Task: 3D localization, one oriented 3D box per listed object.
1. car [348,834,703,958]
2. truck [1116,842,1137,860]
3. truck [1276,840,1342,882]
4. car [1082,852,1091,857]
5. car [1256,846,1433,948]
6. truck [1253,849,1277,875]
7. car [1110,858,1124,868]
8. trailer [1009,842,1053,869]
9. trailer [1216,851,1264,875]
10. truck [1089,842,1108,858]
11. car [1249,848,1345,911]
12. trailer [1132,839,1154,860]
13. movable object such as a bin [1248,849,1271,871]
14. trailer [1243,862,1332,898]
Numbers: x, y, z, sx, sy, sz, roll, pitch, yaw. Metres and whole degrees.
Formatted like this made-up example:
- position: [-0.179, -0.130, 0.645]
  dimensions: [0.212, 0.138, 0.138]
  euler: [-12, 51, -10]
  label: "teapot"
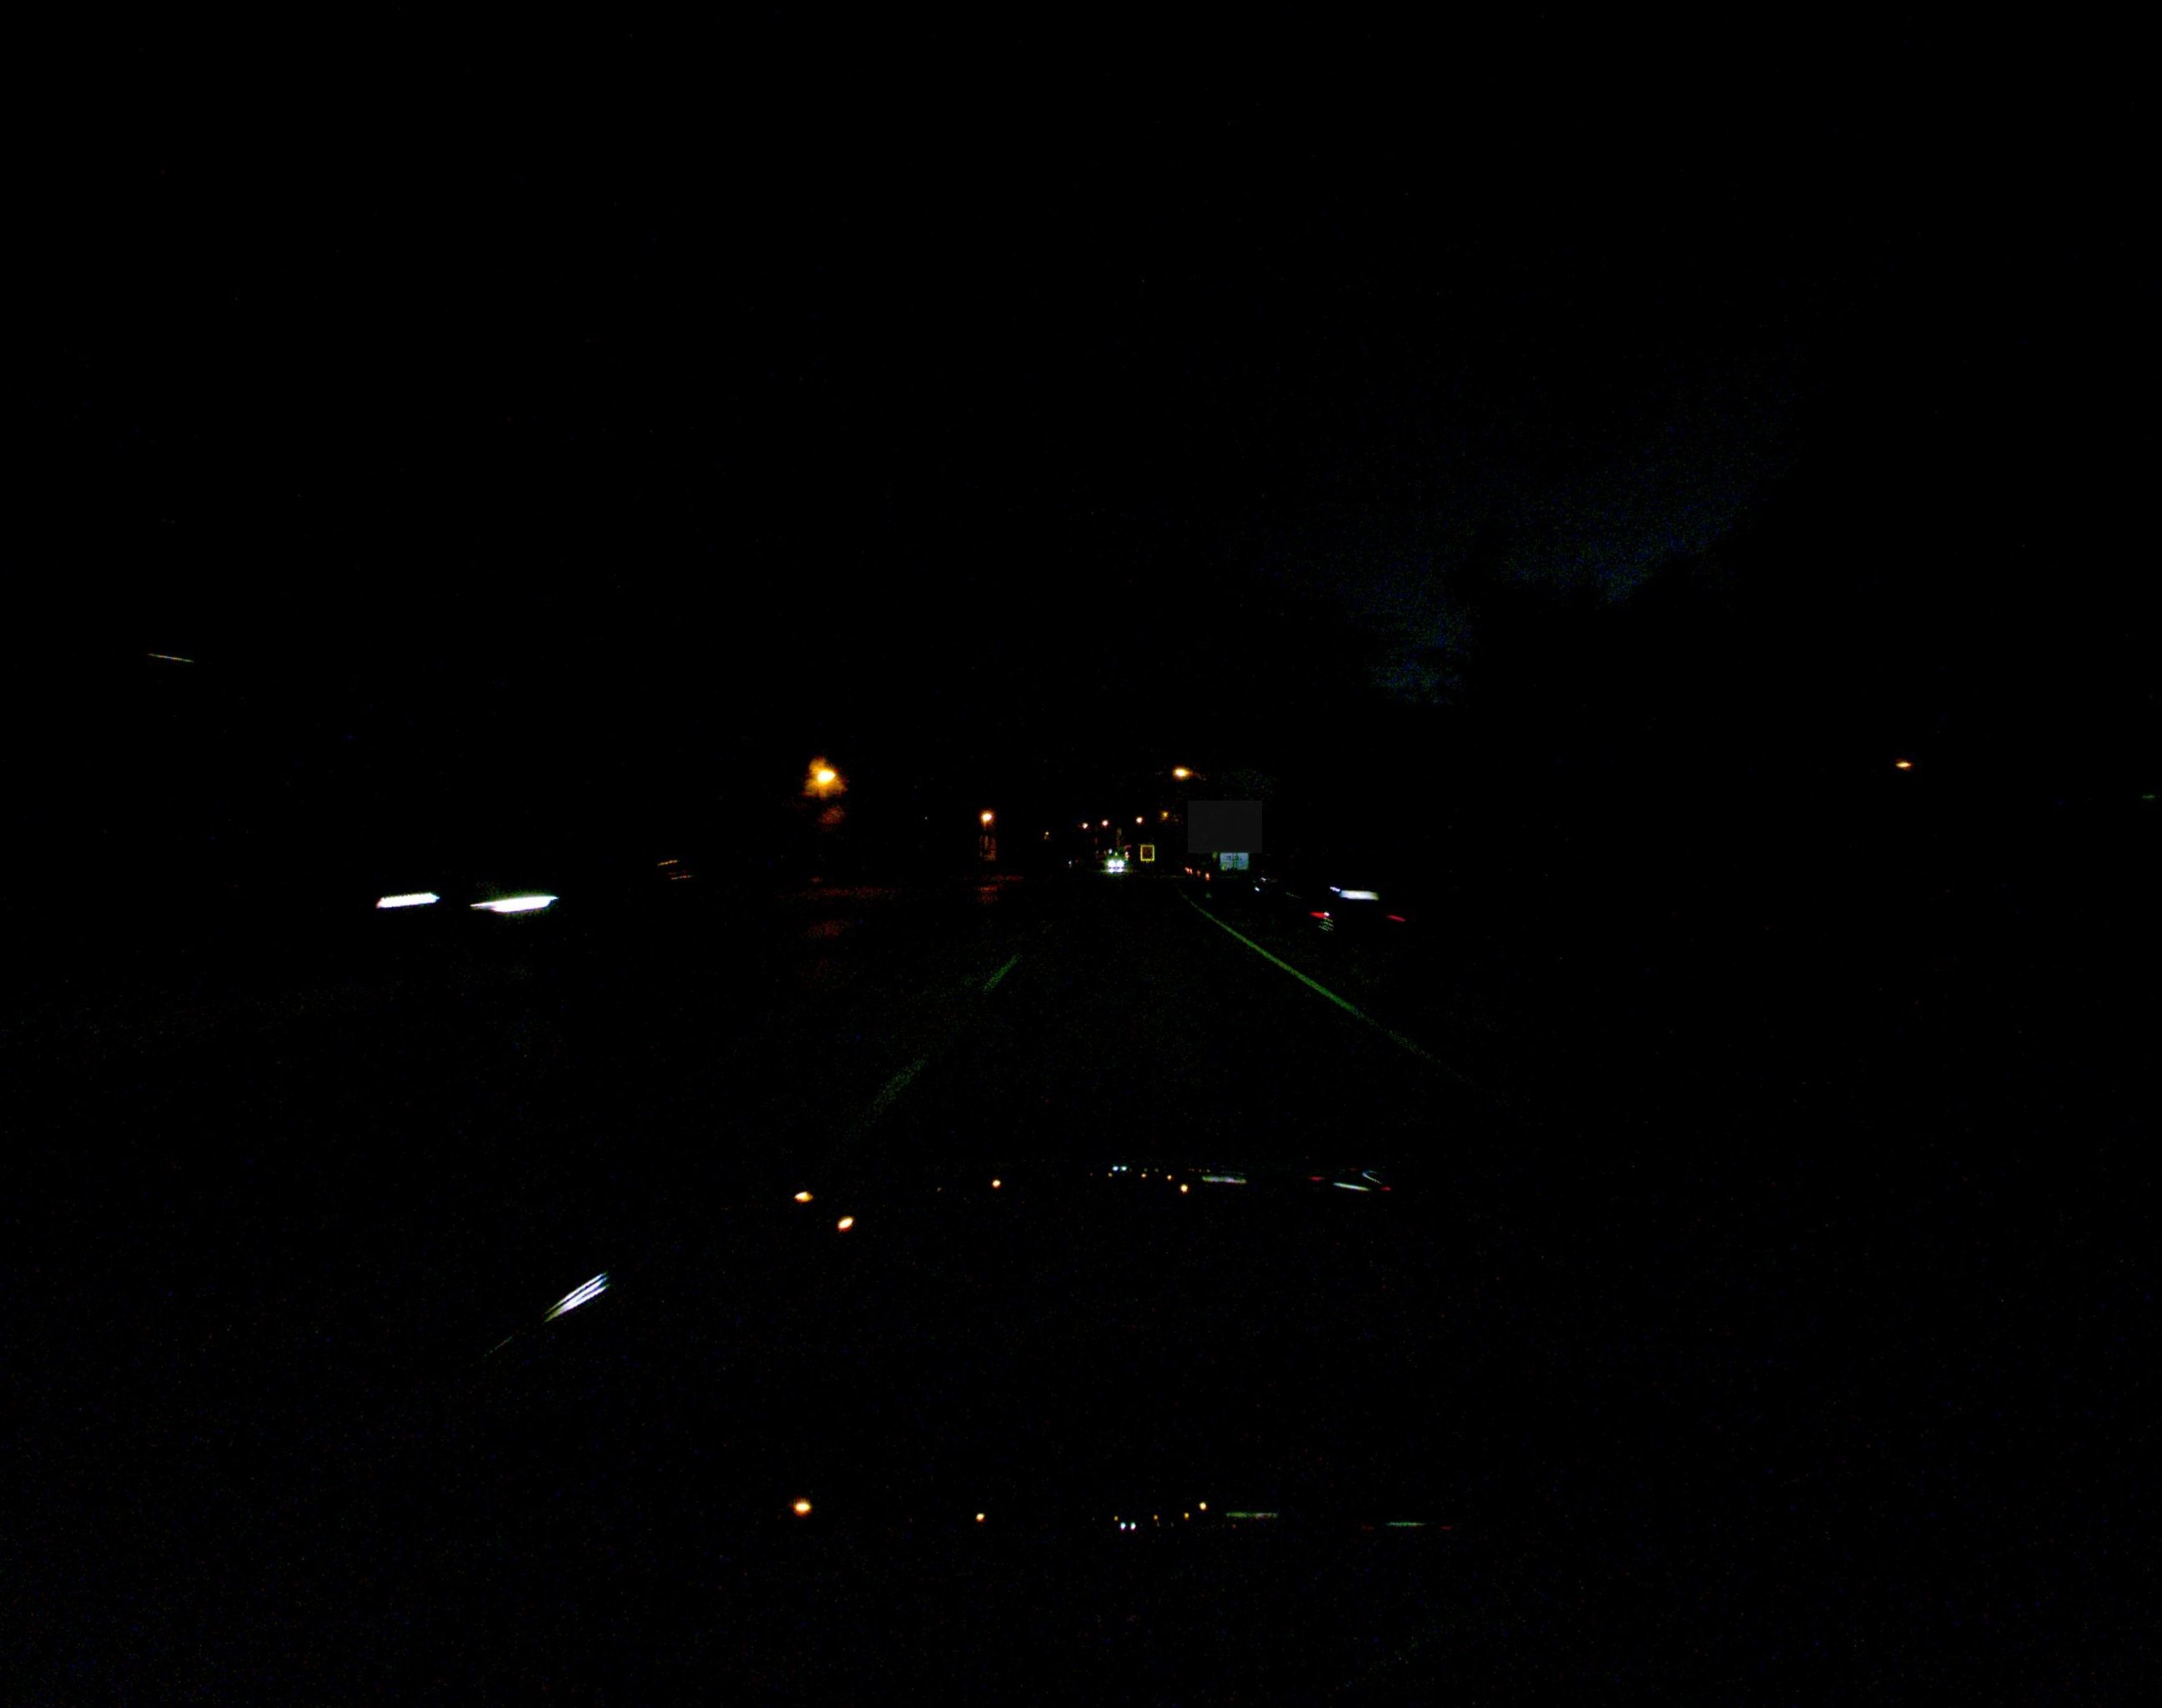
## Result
- position: [-7.748, 0.492, 12.146]
  dimensions: [1.842, 1.445, 4.916]
  euler: [1, 0, 1]
  label: "car"
- position: [10.152, -0.664, 183.869]
  dimensions: [2.828, 3.983, 10.315]
  euler: [-1, 0, -7]
  label: "truck"
- position: [13.316, 0.399, 48.127]
  dimensions: [2.366, 2.284, 7.754]
  euler: [1, 0, 5]
  label: "truck"
- position: [1.649, 0.073, 232.134]
  dimensions: [1.853, 1.519, 3.805]
  euler: [-1, 0, -10]
  label: "car"
- position: [4.599, 0.651, 14.973]
  dimensions: [1.986, 1.552, 4.329]
  euler: [1, 1, 2]
  label: "car"
- position: [21.031, 0.902, 93.228]
  dimensions: [2.170, 2.748, 7.335]
  euler: [1, 0, 10]
  label: "truck"
- position: [5.956, 1.408, 133.528]
  dimensions: [1.984, 1.627, 4.759]
  euler: [1, 0, 5]
  label: "car"
- position: [-5.244, 0.181, 85.676]
  dimensions: [4.327, 2.720, 2.003]
  euler: [-1, 0, 5]
  label: "trailer"
- position: [13.675, 0.734, 70.078]
  dimensions: [3.711, 2.013, 1.624]
  euler: [-1, 0, 30]
  label: "trailer"
- position: [4.561, -1.019, 217.037]
  dimensions: [3.517, 3.983, 10.319]
  euler: [-1, 0, -7]
  label: "truck"
- position: [5.875, 0.648, 22.635]
  dimensions: [1.925, 1.552, 4.006]
  euler: [1, 0, 5]
  label: "car"
- position: [12.551, -0.922, 166.604]
  dimensions: [2.801, 3.983, 13.963]
  euler: [-1, 0, -2]
  label: "trailer"
- position: [21.962, 0.724, 100.314]
  dimensions: [2.217, 2.724, 3.870]
  euler: [1, 0, 4]
  label: "movable object such as a bin"
- position: [7.658, 0.896, 31.312]
  dimensions: [2.162, 0.967, 9.636]
  euler: [2, 1, 7]
  label: "trailer"
